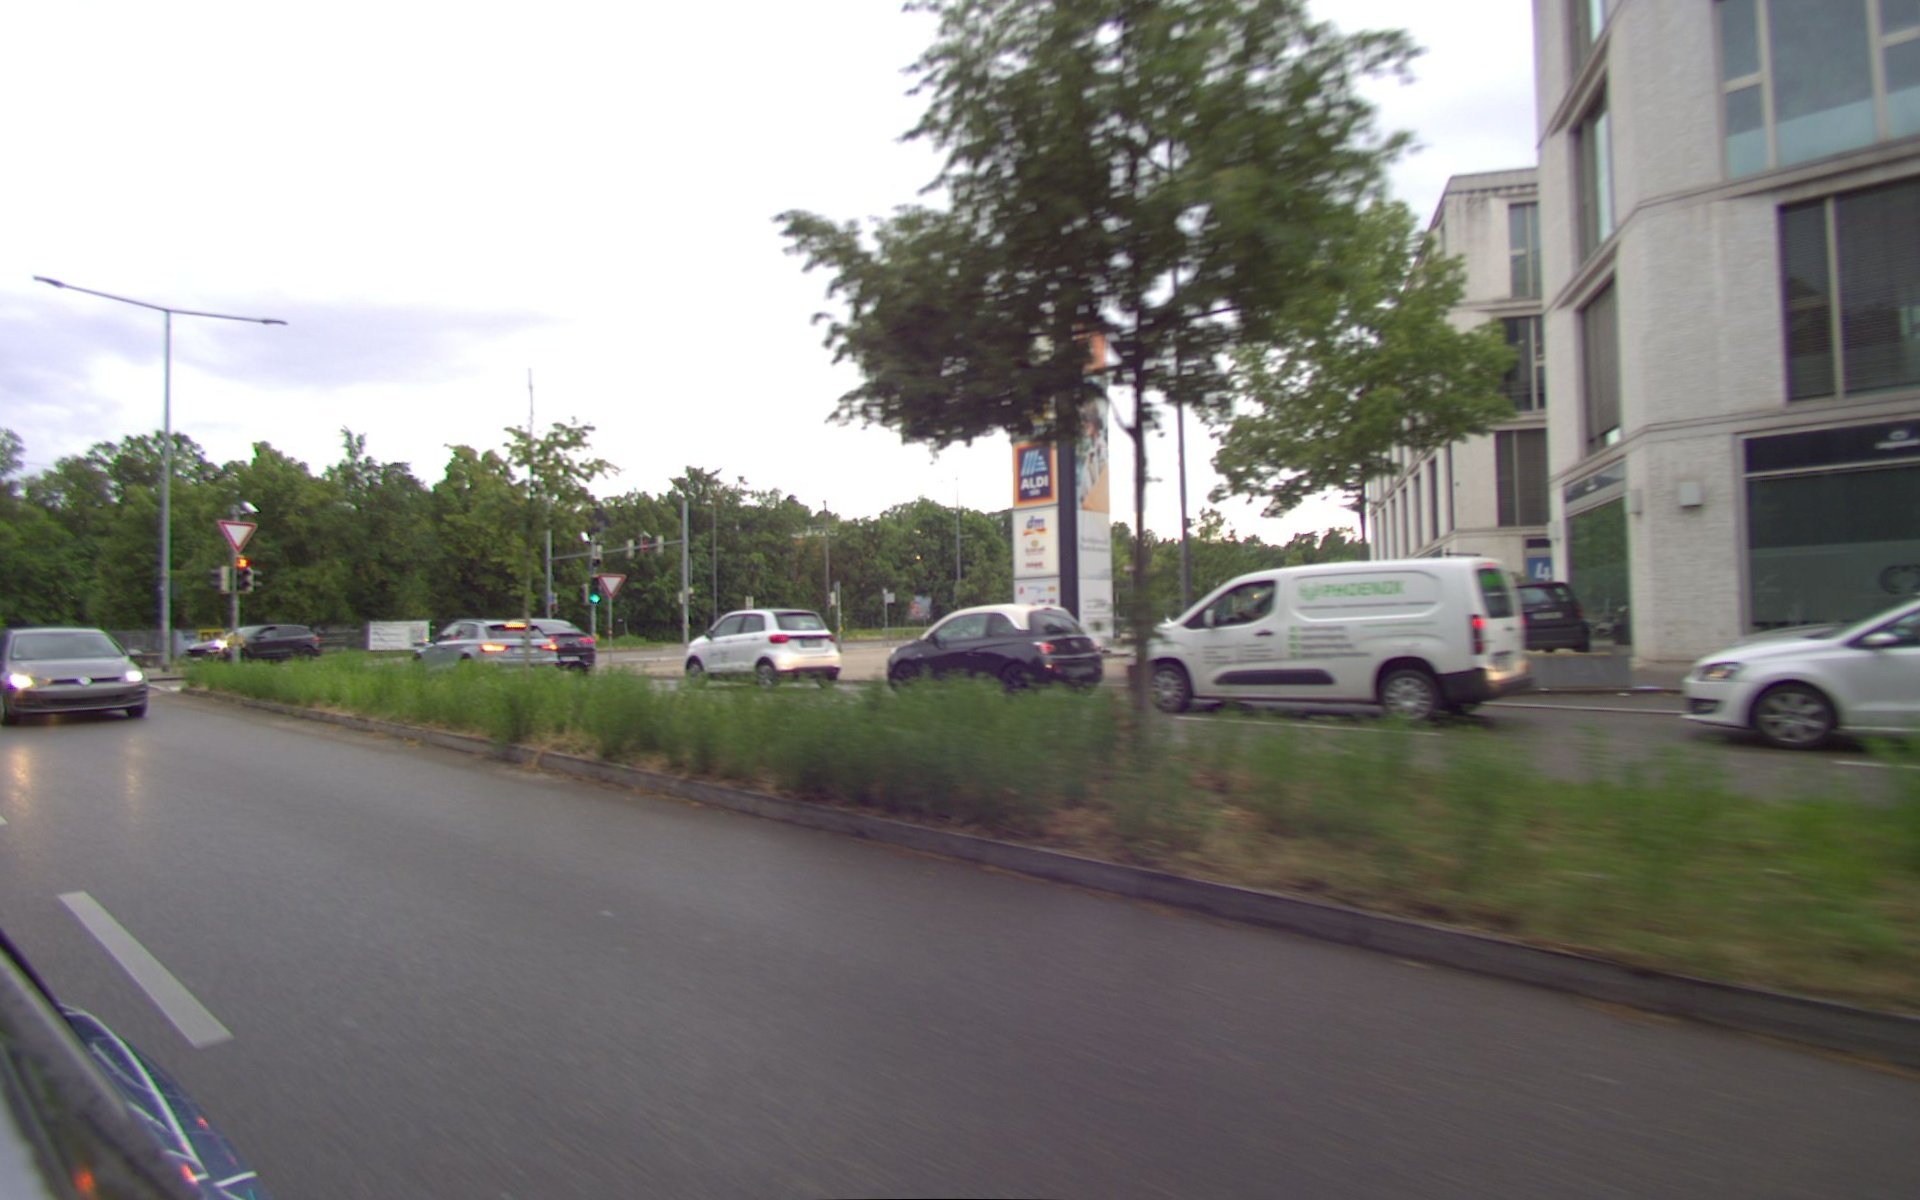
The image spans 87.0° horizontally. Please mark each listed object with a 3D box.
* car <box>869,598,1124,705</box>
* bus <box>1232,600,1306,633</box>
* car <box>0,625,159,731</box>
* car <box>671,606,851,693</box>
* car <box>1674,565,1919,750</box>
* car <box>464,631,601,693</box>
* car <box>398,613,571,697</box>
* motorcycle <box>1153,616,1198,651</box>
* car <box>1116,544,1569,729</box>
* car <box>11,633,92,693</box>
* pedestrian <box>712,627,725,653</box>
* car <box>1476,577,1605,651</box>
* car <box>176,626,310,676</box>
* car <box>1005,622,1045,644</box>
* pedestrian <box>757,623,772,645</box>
[{"bbox_3d":[0.485,0.820,15.744,3.749,1.471,1.696,-4,-4,42],"label":"car"},{"bbox_3d":[29.194,1.570,95.235,2.881,3.012,9.868,-1,-2,41],"label":"bus"},{"bbox_3d":[-14.617,1.191,16.402,3.998,1.450,1.880,-2,-1,41],"label":"car"},{"bbox_3d":[-4.023,1.010,20.182,3.701,1.588,1.632,-4,-4,42],"label":"car"},{"bbox_3d":[8.563,0.446,8.437,4.060,1.479,1.724,-1,0,43],"label":"car"},{"bbox_3d":[-11.407,1.650,26.908,4.062,1.531,1.806,-4,-4,41],"label":"car"},{"bbox_3d":[-10.219,1.193,21.631,4.163,1.587,1.829,-5,-2,42],"label":"car"},{"bbox_3d":[9.112,1.442,42.921,1.751,1.413,0.522,-4,-2,36],"label":"motorcycle"},{"bbox_3d":[4.407,0.441,12.237,4.773,1.816,1.823,-2,-2,43],"label":"car"},{"bbox_3d":[-26.179,1.788,29.137,1.646,1.541,3.660,-1,-2,-43],"label":"car"},{"bbox_3d":[-18.069,3.009,75.763,0.677,1.898,0.690,-3,-2,41],"label":"pedestrian"},{"bbox_3d":[12.035,0.296,21.181,1.554,1.387,3.278,-2,-1,16],"label":"car"},{"bbox_3d":[-28.356,1.990,40.146,1.893,1.785,3.973,-2,-1,20],"label":"car"},{"bbox_3d":[6.272,3.145,97.277,1.996,2.029,3.952,-2,-2,35],"label":"car"},{"bbox_3d":[-15.489,2.677,80.253,0.822,1.688,0.820,-3,-2,41],"label":"pedestrian"}]
